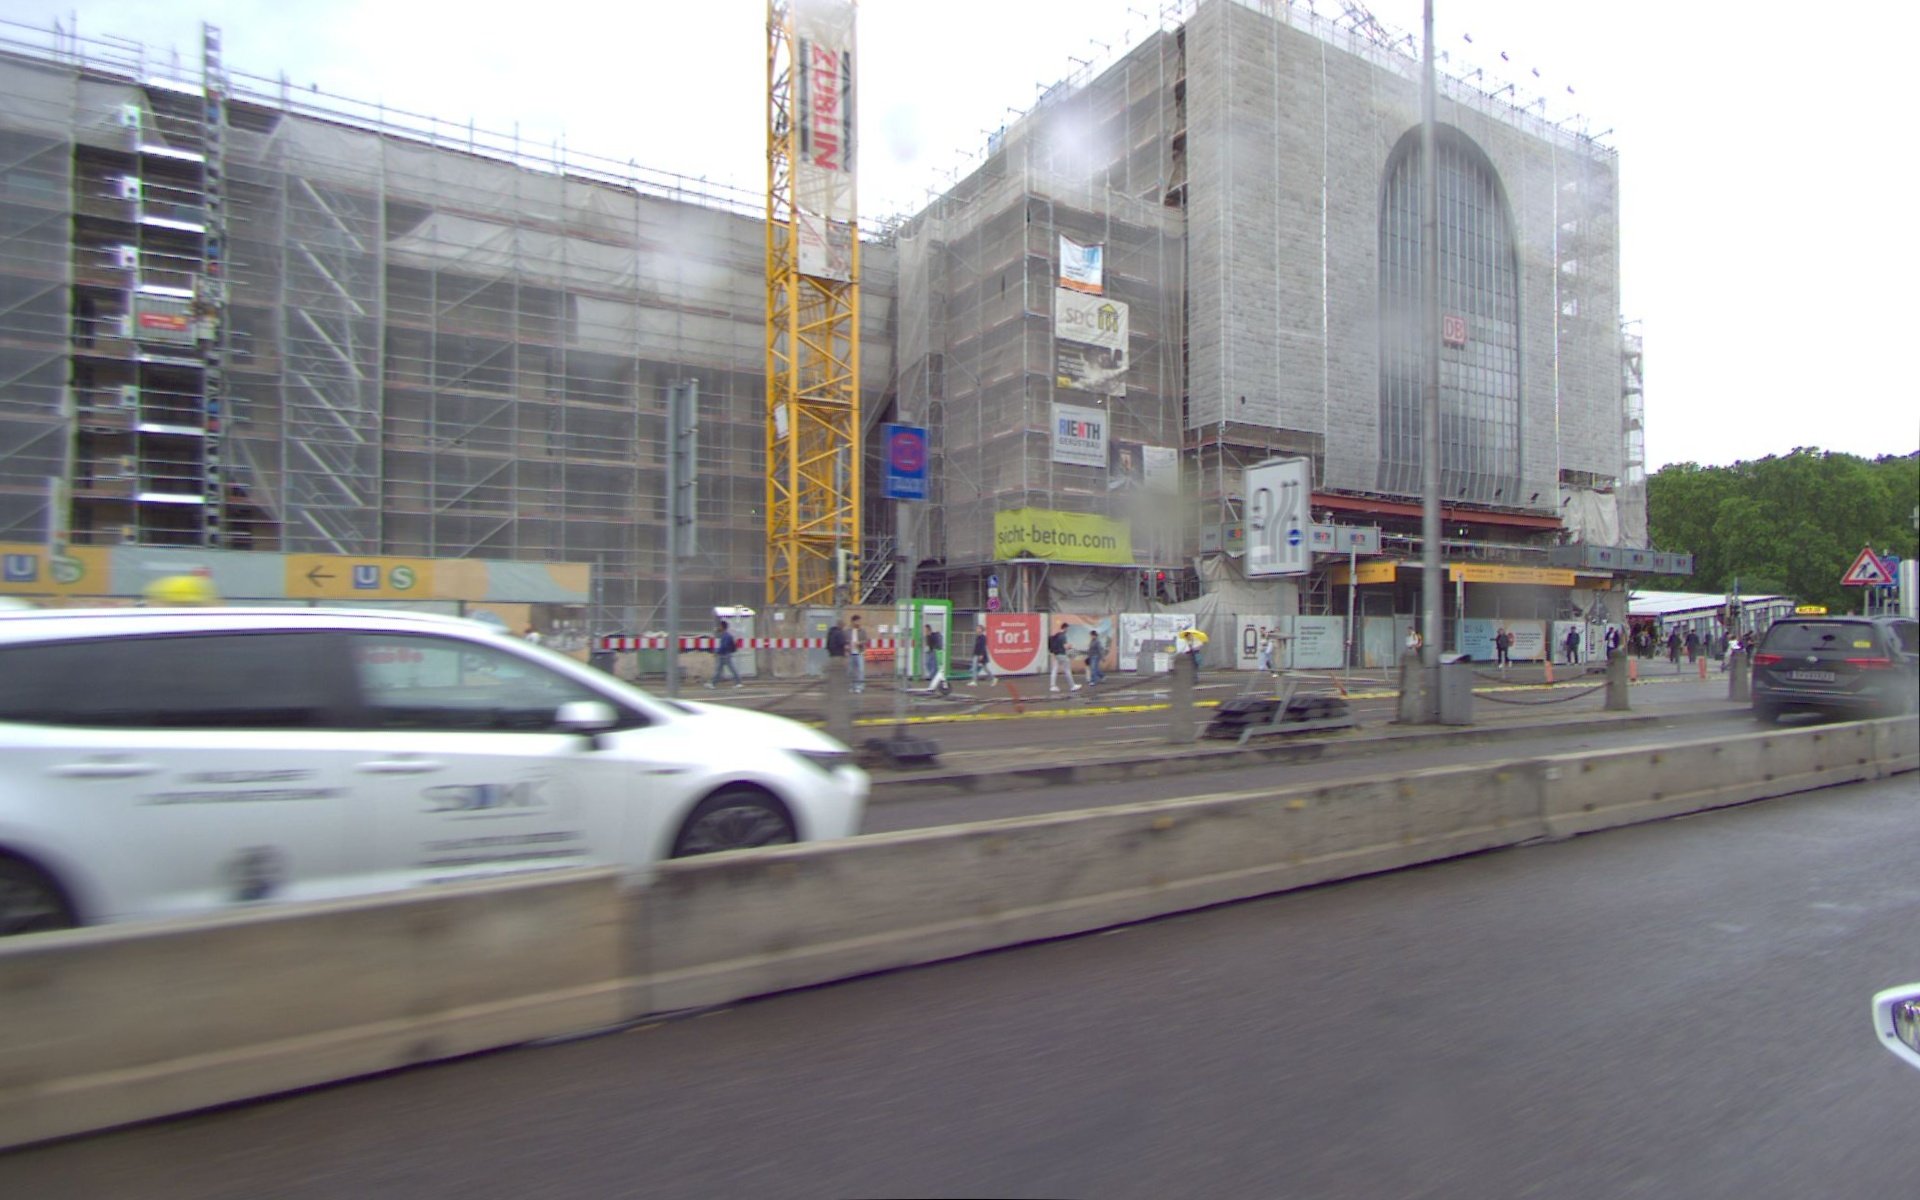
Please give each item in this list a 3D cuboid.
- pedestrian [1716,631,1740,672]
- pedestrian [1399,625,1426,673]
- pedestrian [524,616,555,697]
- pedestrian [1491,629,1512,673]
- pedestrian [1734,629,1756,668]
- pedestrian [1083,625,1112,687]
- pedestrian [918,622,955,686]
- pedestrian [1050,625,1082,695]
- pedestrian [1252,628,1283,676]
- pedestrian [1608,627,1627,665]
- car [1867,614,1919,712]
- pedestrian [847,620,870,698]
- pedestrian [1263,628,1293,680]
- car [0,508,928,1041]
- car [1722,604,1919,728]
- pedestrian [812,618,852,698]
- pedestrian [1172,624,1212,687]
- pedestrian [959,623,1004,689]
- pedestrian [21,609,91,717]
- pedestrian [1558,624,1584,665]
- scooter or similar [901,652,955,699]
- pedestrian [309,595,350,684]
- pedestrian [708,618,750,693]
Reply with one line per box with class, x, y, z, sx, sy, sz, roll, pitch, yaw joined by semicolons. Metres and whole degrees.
pedestrian;35.012;2.344;45.809;0.766;1.865;0.635;1;-2;-32
pedestrian;18.143;1.948;40.289;0.829;1.865;0.763;1;-1;-45
pedestrian;-9.952;1.324;23.774;0.604;1.865;0.719;1;-1;-27
pedestrian;23.177;2.187;42.988;0.764;1.865;0.532;1;-1;-36
pedestrian;38.157;2.349;48.844;0.523;1.865;0.693;1;-2;-33
pedestrian;4.207;1.690;30.790;0.700;1.865;0.565;1;-1;-45
pedestrian;-0.704;1.608;29.936;0.840;1.865;0.800;1;-1;-27
pedestrian;2.879;1.610;27.201;0.698;1.865;0.504;1;-1;-37
pedestrian;10.719;1.814;35.005;0.828;1.635;0.673;1;-1;-29
pedestrian;32.353;2.265;49.411;0.716;1.865;0.668;1;-1;-45
car;19.207;1.154;18.835;5.001;1.734;2.038;1;-2;-33
pedestrian;-2.468;1.430;24.460;0.501;1.865;0.339;1;-1;-15
pedestrian;10.700;1.810;33.801;0.833;1.708;0.674;1;-1;-45
car;-2.696;0.614;4.722;4.780;1.728;1.982;1;-2;-33
car;14.003;0.965;15.622;4.591;1.675;1.983;1;-2;-33
pedestrian;-3.023;1.369;23.839;0.861;1.865;0.704;1;-1;-2
pedestrian;7.004;1.669;30.372;0.833;1.865;0.866;1;-1;-44
pedestrian;0.622;1.620;29.219;1.044;1.865;0.836;1;-1;-27
pedestrian;-17.097;1.169;19.022;0.856;1.965;0.737;1;1;-34
pedestrian;28.372;2.070;46.658;0.763;1.865;0.775;1;-2;-31
scooter or similar;-0.753;1.764;23.572;1.215;1.080;0.460;0;-1;4
pedestrian;-13.538;0.845;21.578;0.648;1.865;0.739;1;-1;-27
pedestrian;-5.881;1.395;25.596;0.857;1.865;0.800;1;-1;-27
